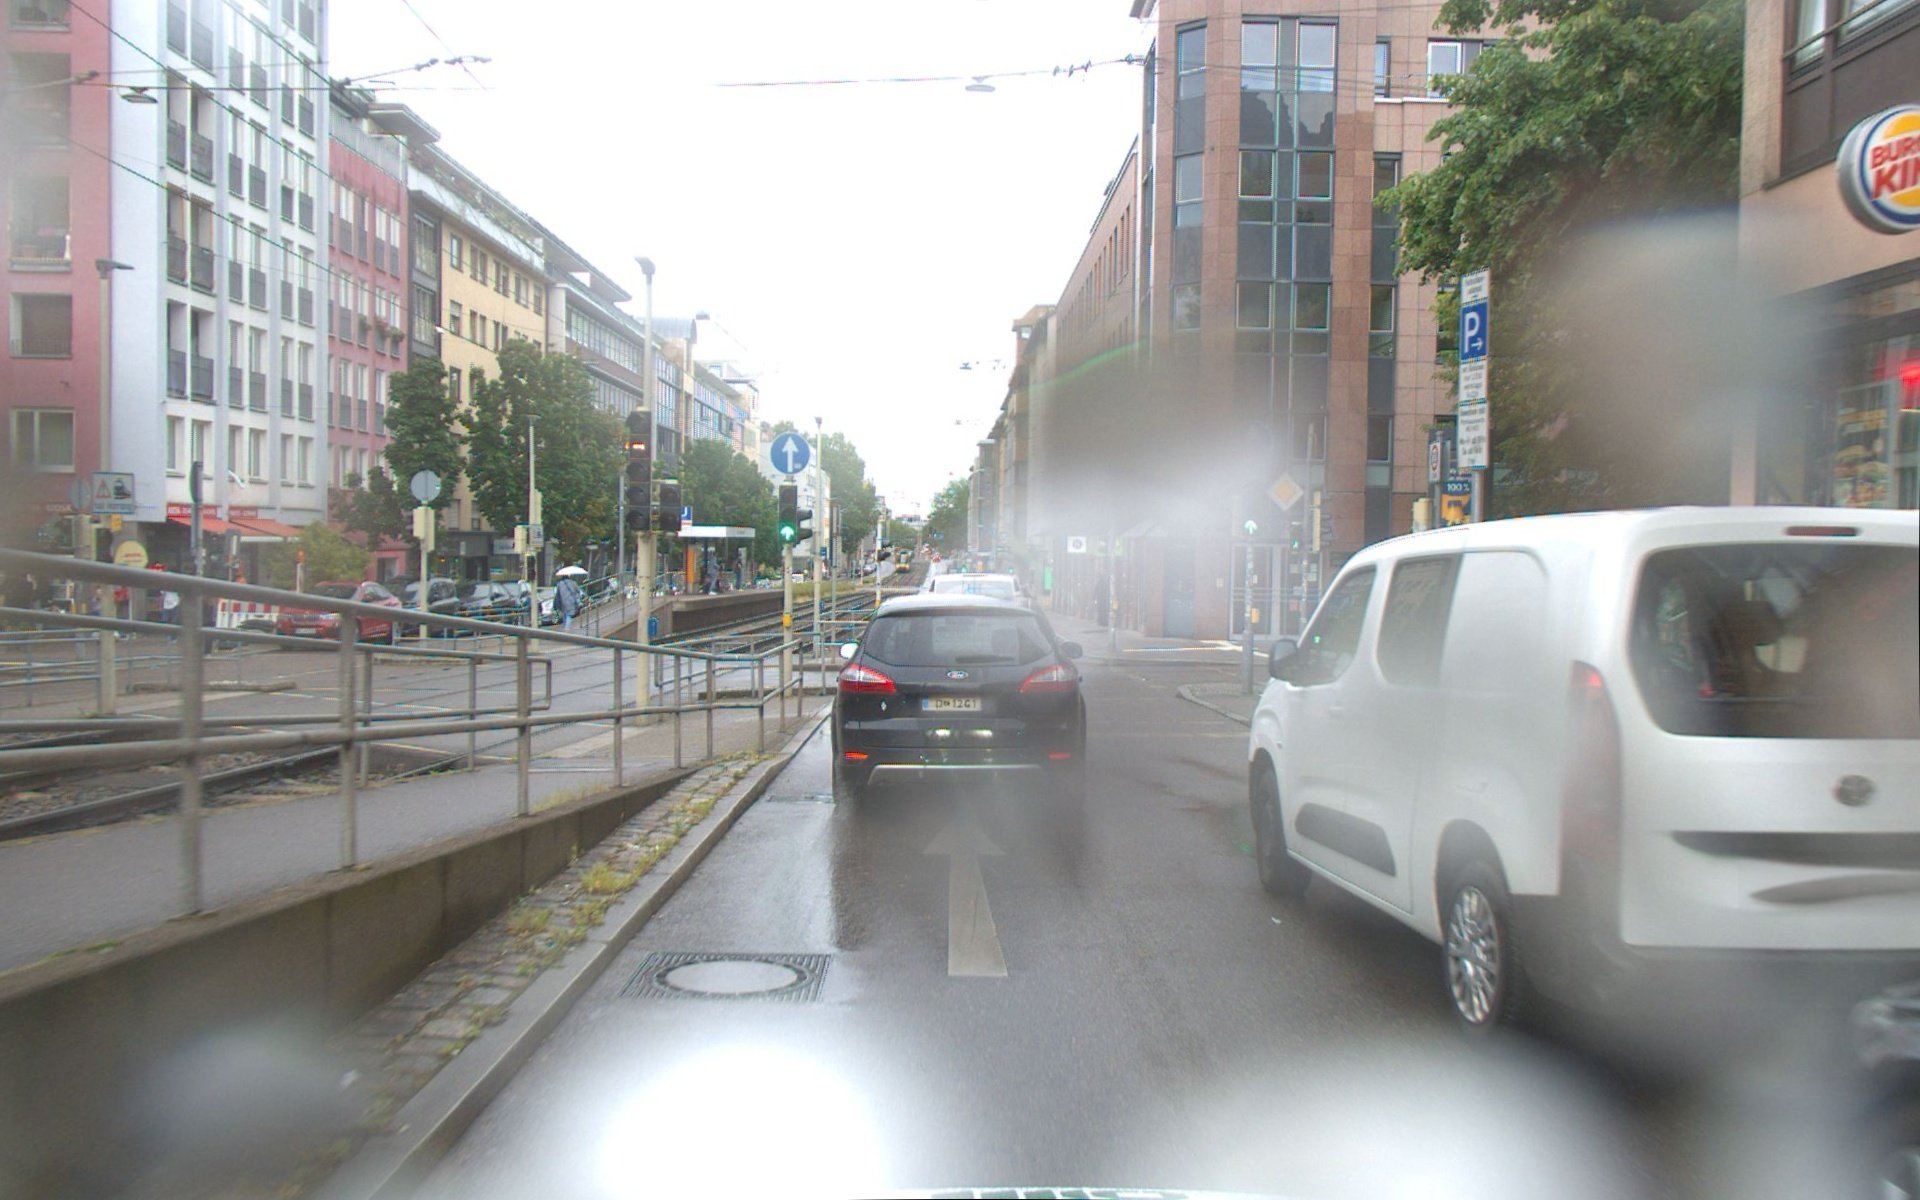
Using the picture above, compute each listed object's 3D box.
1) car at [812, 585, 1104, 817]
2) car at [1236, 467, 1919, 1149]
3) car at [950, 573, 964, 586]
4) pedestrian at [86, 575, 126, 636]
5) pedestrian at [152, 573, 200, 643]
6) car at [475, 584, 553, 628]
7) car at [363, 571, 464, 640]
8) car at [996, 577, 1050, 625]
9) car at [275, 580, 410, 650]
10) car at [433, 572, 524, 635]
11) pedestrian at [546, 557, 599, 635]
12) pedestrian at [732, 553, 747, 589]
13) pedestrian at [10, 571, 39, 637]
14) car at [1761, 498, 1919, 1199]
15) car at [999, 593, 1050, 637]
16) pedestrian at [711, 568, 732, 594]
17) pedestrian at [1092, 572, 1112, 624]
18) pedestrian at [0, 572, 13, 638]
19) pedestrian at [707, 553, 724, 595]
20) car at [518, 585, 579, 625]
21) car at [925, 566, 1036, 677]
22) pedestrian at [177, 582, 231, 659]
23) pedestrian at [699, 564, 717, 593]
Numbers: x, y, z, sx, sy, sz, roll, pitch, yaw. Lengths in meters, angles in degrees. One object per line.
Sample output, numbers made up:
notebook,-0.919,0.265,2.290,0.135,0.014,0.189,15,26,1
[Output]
car,-0.021,0.643,12.329,1.867,1.488,3.444,0,0,0
car,2.576,0.555,6.898,1.868,1.838,4.775,0,0,-3
car,-0.410,-2.777,226.803,1.867,1.662,4.574,0,0,0
pedestrian,-21.309,0.133,41.269,0.626,1.487,0.656,1,0,-3
pedestrian,-19.754,0.194,41.701,0.804,1.727,0.984,1,0,-9
car,-15.591,0.178,58.046,1.804,1.461,4.316,0,1,-4
car,-15.663,0.117,47.622,1.673,1.890,4.318,0,1,-3
car,2.089,0.028,55.803,1.664,1.505,3.867,-2,0,1
car,-15.602,0.327,42.038,1.690,1.640,4.553,0,1,0
car,-15.157,0.080,52.272,1.766,1.890,4.378,0,1,-3
pedestrian,-10.382,-0.115,44.379,1.093,2.049,1.383,0,0,-1
pedestrian,-11.066,-1.456,83.069,0.642,1.833,0.849,0,0,-3
pedestrian,-23.739,0.093,41.952,0.539,1.660,0.567,2,0,-37
car,2.647,0.646,1.322,1.867,1.644,4.413,0,0,0
car,2.341,0.537,60.775,1.664,1.487,3.867,-2,0,0
pedestrian,-10.704,-0.859,74.232,0.876,1.143,0.848,0,1,-12
pedestrian,4.681,-0.072,54.455,0.589,1.688,0.625,0,0,-1
pedestrian,-24.397,0.112,41.964,0.571,1.660,0.606,1,0,-27
pedestrian,-10.294,-1.085,69.653,0.642,1.741,0.849,0,0,-3
car,-15.531,0.158,62.560,1.537,1.461,3.976,0,1,-4
car,0.459,0.364,30.745,1.866,1.897,4.575,0,0,3
pedestrian,-17.019,0.456,37.245,0.866,1.660,0.803,2,3,41
pedestrian,-10.955,-0.932,71.937,0.679,1.271,0.884,0,1,-3
